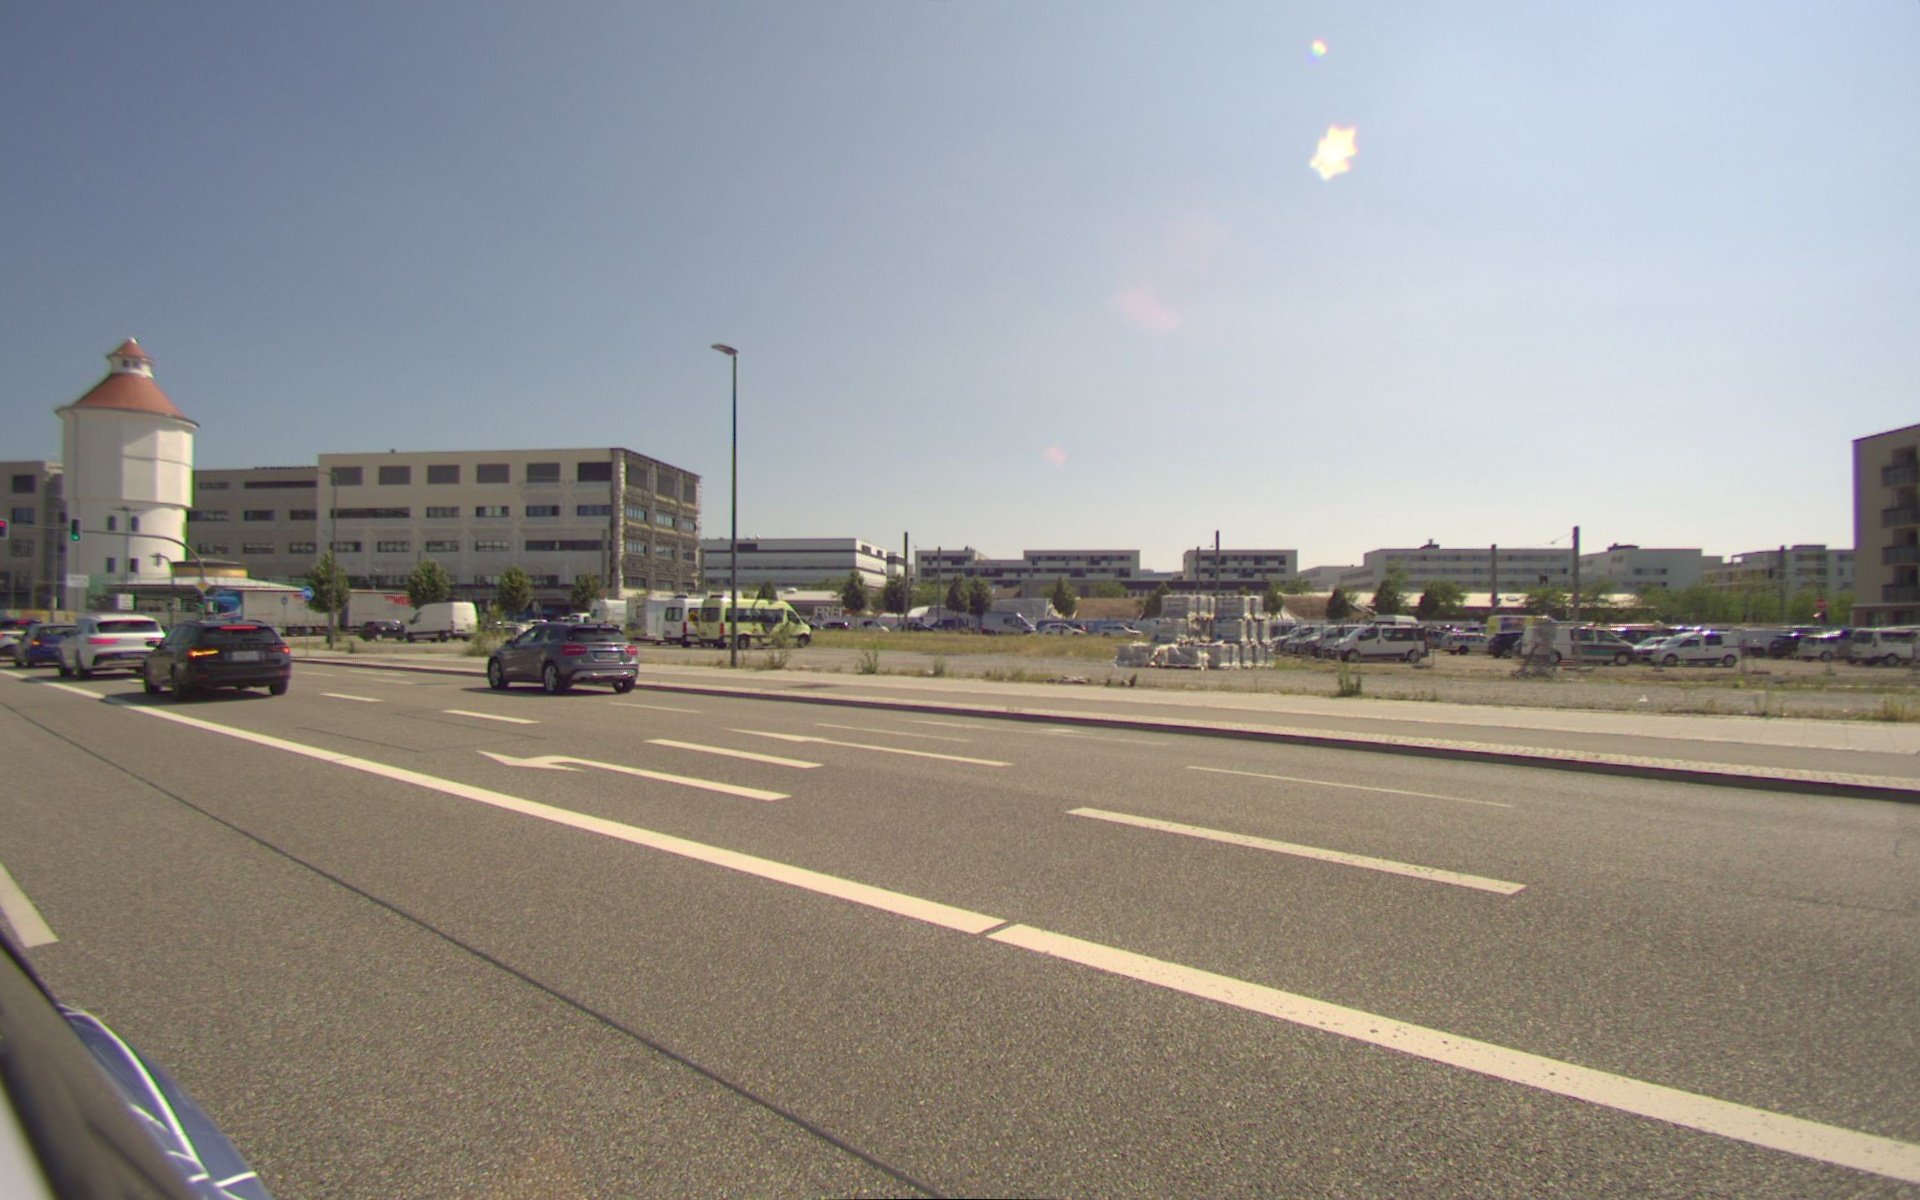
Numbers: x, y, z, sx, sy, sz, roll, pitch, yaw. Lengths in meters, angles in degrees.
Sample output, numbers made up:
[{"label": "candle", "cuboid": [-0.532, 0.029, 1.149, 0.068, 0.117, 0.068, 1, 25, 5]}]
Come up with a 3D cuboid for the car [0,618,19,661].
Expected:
[{"label": "car", "cuboid": [-41.996, 1.700, 43.286, 4.650, 1.802, 1.920, -2, -1, 39]}]

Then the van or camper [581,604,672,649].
[{"label": "van or camper", "cuboid": [-20.522, 1.581, 62.369, 2.258, 2.682, 4.849, -2, -1, 41]}]

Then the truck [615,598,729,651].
[{"label": "truck", "cuboid": [-17.000, 1.374, 59.953, 2.570, 2.923, 6.080, 0, 1, 42]}]

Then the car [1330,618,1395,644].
[{"label": "car", "cuboid": [31.763, 2.422, 79.886, 4.431, 1.985, 1.834, 0, -2, 9]}]

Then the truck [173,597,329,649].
[{"label": "truck", "cuboid": [-60.298, 1.824, 86.581, 3.281, 4.098, 10.895, 0, 1, 23]}]

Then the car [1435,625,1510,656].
[{"label": "car", "cuboid": [33.873, 2.651, 66.978, 3.953, 2.029, 1.995, 0, -2, 8]}]

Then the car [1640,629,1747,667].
[{"label": "car", "cuboid": [37.983, 2.480, 52.504, 3.959, 1.896, 1.992, 0, -2, 12]}]

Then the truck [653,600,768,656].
[{"label": "truck", "cuboid": [-13.759, 1.457, 56.187, 2.570, 2.845, 5.773, 0, 1, 42]}]

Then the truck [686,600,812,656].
[{"label": "truck", "cuboid": [-11.223, 1.441, 54.345, 2.598, 2.847, 6.575, -1, -1, 37]}]

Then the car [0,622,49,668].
[{"label": "car", "cuboid": [-36.109, 1.689, 38.321, 4.094, 1.695, 1.761, -2, -3, 39]}]

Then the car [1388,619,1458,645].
[{"label": "car", "cuboid": [36.332, 2.512, 79.562, 4.601, 1.985, 1.994, 0, -2, 9]}]

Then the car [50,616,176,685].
[{"label": "car", "cuboid": [-22.532, 1.280, 26.859, 4.729, 1.662, 1.893, -1, -2, 42]}]

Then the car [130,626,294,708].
[{"label": "car", "cuboid": [-14.775, 1.222, 19.898, 4.571, 1.409, 1.768, -1, -1, 43]}]

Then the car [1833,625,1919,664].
[{"label": "car", "cuboid": [51.206, 2.452, 55.888, 3.959, 2.029, 1.992, -1, -1, 12]}]

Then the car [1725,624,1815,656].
[{"label": "car", "cuboid": [52.143, 2.543, 65.207, 3.959, 2.029, 1.992, -1, -1, 12]}]

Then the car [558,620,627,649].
[{"label": "car", "cuboid": [-23.322, 2.156, 64.266, 1.655, 1.771, 3.829, -2, -1, 37]}]

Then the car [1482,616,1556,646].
[{"label": "car", "cuboid": [38.770, 2.161, 70.260, 3.952, 2.029, 1.996, 0, -2, 7]}]

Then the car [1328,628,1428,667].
[{"label": "car", "cuboid": [22.301, 2.515, 54.149, 4.601, 2.029, 1.994, 0, -2, 9]}]

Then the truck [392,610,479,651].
[{"label": "truck", "cuboid": [-35.859, 2.048, 69.173, 5.914, 2.675, 2.154, 0, -2, 26]}]

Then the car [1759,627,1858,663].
[{"label": "car", "cuboid": [50.126, 2.677, 59.872, 3.959, 2.029, 1.992, -1, -1, 12]}]

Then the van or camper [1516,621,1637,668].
[{"label": "van or camper", "cuboid": [32.007, 2.342, 52.708, 4.881, 2.301, 1.994, 0, -6, 10]}]

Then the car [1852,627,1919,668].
[{"label": "car", "cuboid": [49.833, 2.472, 53.107, 3.959, 2.029, 1.992, -1, -1, 12]}]

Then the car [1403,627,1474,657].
[{"label": "car", "cuboid": [33.202, 2.920, 70.308, 3.953, 2.029, 1.995, 0, -2, 8]}]

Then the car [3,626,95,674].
[{"label": "car", "cuboid": [-29.820, 1.578, 33.079, 4.280, 1.432, 1.767, -1, -1, 42]}]

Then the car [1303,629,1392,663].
[{"label": "car", "cuboid": [22.933, 2.717, 60.091, 4.601, 1.985, 1.994, 0, -2, 9]}]

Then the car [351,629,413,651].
[{"label": "car", "cuboid": [-45.918, 3.180, 80.498, 1.871, 1.652, 3.963, -1, -1, 27]}]

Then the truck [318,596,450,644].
[{"label": "truck", "cuboid": [-55.004, 1.752, 97.074, 3.331, 4.307, 10.839, 0, 1, 30]}]

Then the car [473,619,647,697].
[{"label": "car", "cuboid": [-8.750, 1.205, 21.948, 4.388, 1.507, 1.881, -2, -3, 44]}]
